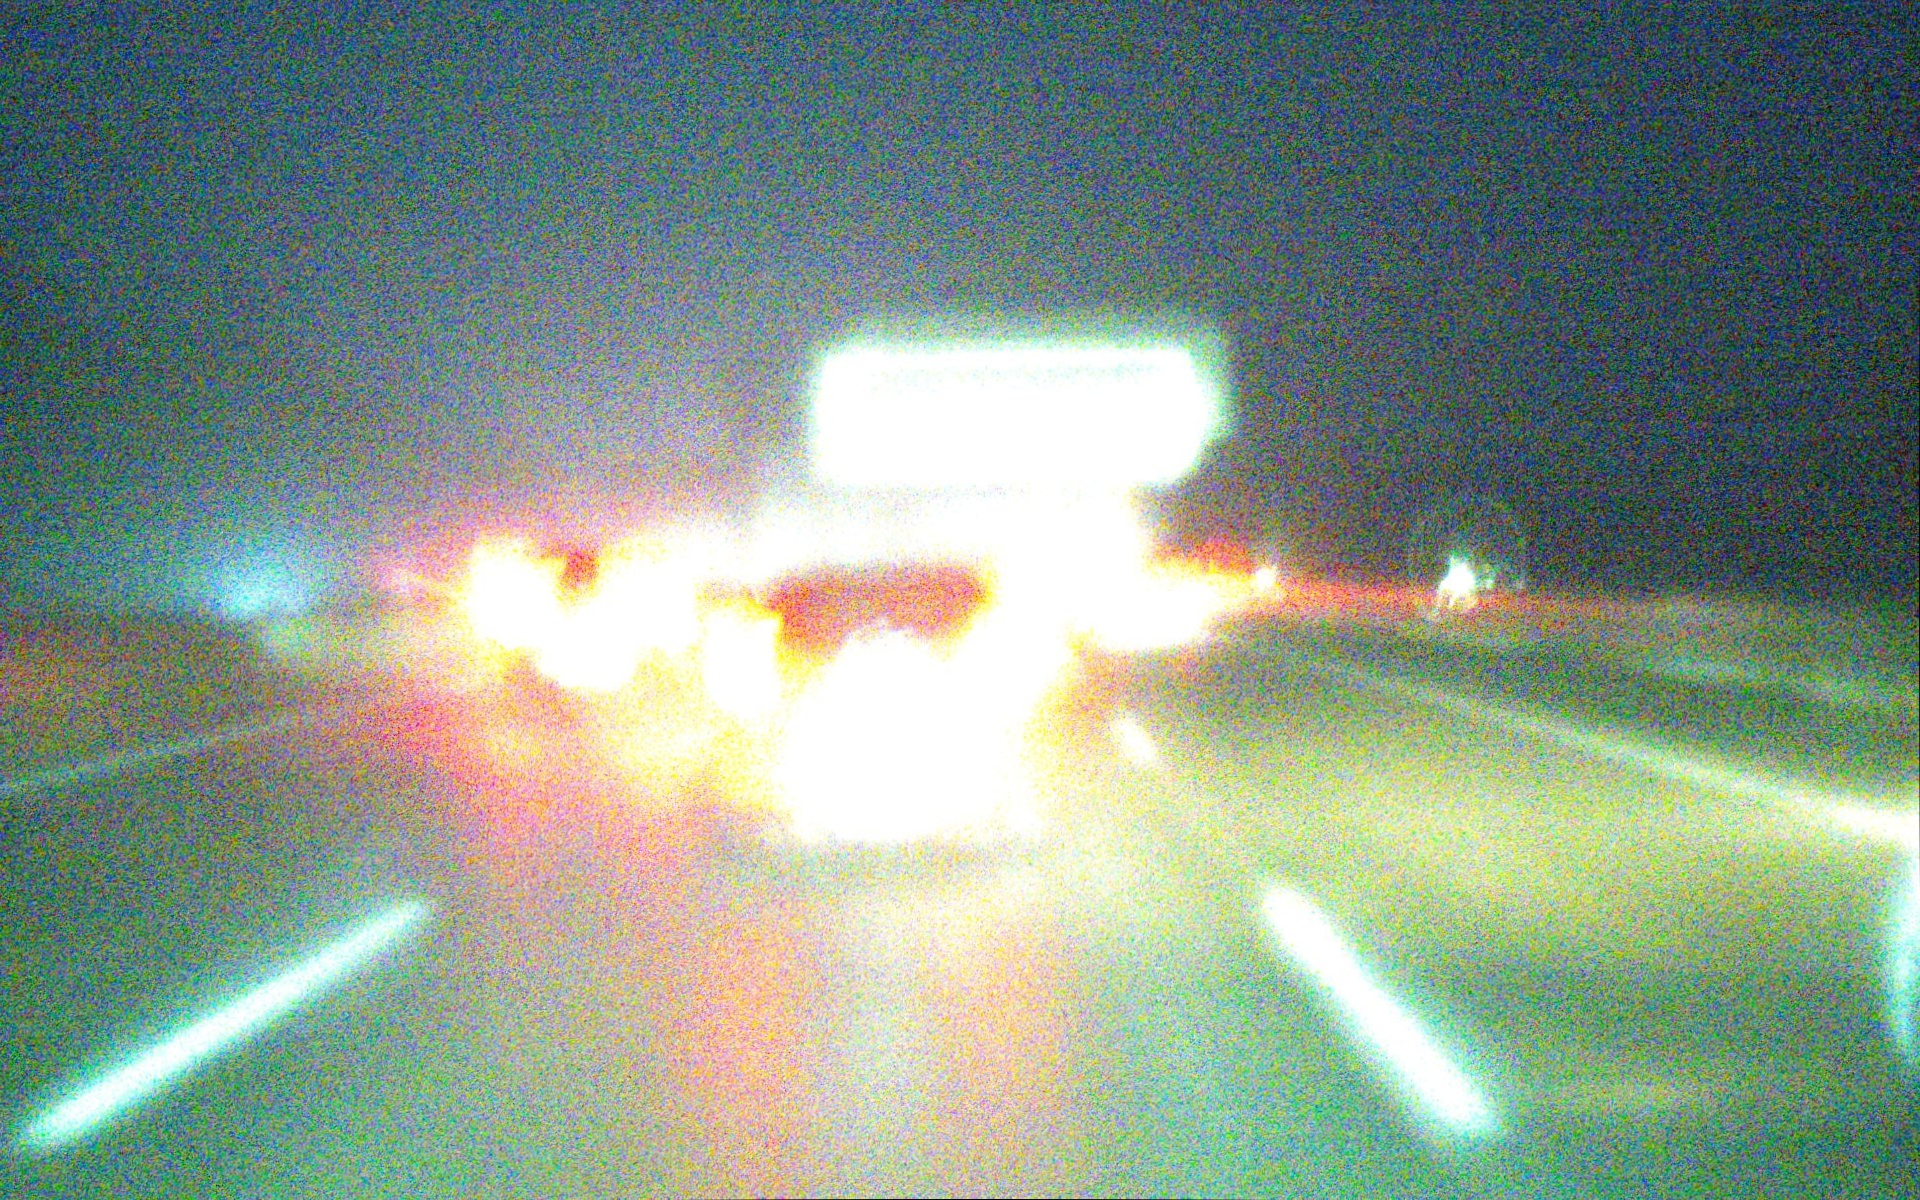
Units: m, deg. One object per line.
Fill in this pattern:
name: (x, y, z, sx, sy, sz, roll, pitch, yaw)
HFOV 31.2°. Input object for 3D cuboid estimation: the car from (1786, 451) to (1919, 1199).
car: (3.201, 0.578, 6.634, 1.953, 1.786, 5.124, 0, 1, 0)

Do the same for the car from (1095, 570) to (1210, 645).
car: (3.690, 0.128, 66.415, 1.889, 1.349, 4.000, 1, 1, -1)

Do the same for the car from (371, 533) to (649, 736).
car: (-4.330, 0.300, 33.819, 1.993, 1.771, 4.887, -2, 0, 0)

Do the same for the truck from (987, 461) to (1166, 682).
truck: (3.049, -0.759, 95.031, 4.167, 5.525, 13.075, -2, 0, 0)

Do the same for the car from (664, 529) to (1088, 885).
car: (-0.402, 0.488, 18.179, 1.916, 1.589, 4.233, -2, 0, 0)
